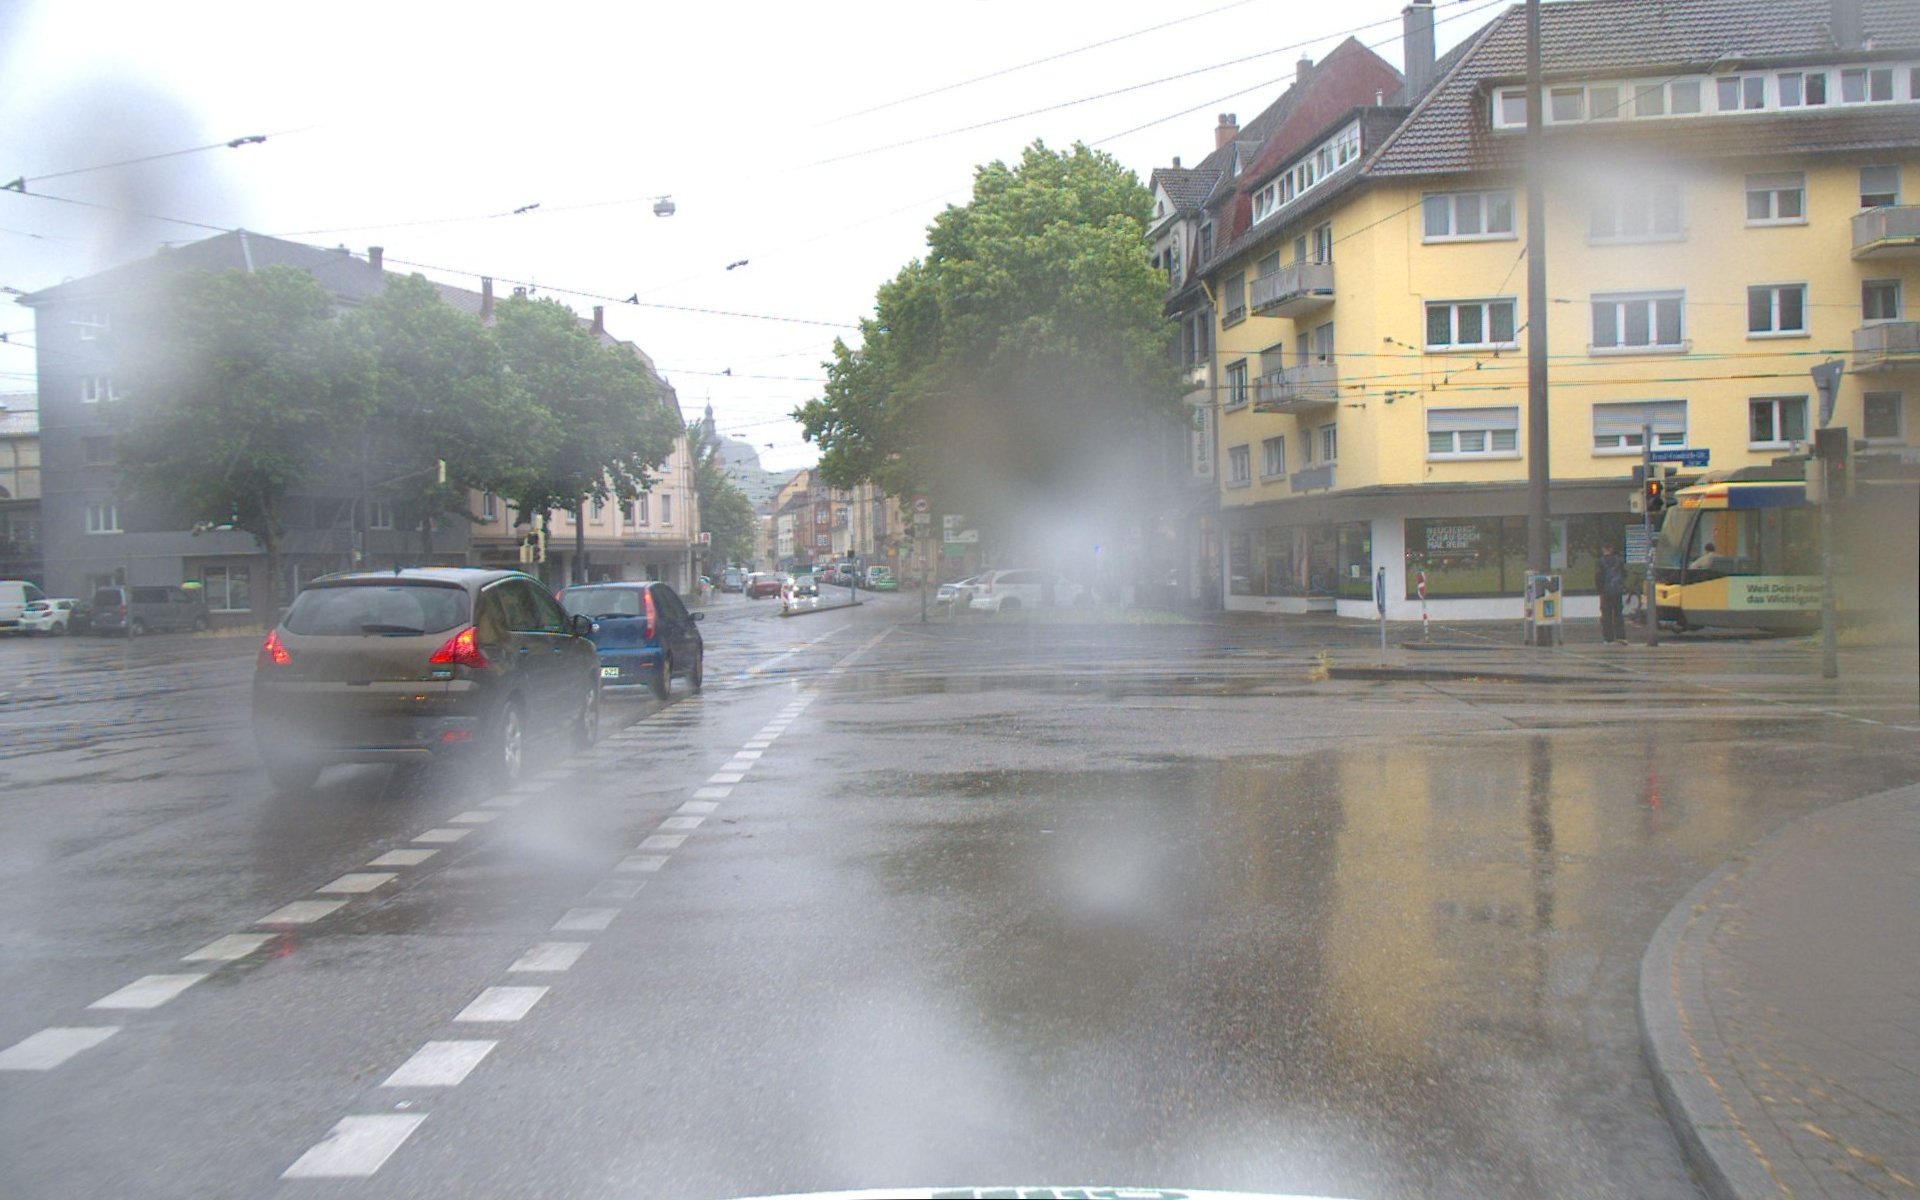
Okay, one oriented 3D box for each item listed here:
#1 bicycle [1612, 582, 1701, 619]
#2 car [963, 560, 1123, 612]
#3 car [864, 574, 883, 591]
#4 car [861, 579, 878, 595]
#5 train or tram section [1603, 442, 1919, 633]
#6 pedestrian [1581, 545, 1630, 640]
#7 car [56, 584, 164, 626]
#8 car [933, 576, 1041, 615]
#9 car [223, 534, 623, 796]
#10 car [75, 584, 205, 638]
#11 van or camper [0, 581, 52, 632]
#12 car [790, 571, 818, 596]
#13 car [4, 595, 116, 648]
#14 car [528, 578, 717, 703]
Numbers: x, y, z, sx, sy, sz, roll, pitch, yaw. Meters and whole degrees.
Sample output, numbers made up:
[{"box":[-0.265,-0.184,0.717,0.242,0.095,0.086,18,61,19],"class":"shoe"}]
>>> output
[{"box":[17.728,0.015,42.146,1.996,0.912,0.614,-1,1,9],"class":"bicycle"},{"box":[2.731,-0.481,54.788,4.889,1.499,1.993,-2,1,-14],"class":"car"},{"box":[-7.386,-1.520,141.104,1.447,1.386,3.458,1,0,-5],"class":"car"},{"box":[-8.104,-1.169,147.740,1.447,1.386,3.458,1,0,-5],"class":"car"},{"box":[20.506,-1.222,32.689,14.221,3.620,3.119,0,1,7],"class":"train or tram section"},{"box":[11.759,-0.142,30.143,0.795,1.706,1.017,-1,1,20],"class":"pedestrian"},{"box":[-35.337,0.183,68.874,1.880,1.646,4.004,-1,1,11],"class":"car"},{"box":[1.240,-0.221,74.731,4.483,1.584,2.002,-1,1,17],"class":"car"},{"box":[-3.998,0.387,13.096,1.764,1.739,4.191,0,1,0],"class":"car"},{"box":[-32.950,0.402,66.597,2.019,2.048,4.396,0,1,24],"class":"car"},{"box":[-40.482,0.261,68.830,1.951,2.111,4.657,-1,0,17],"class":"van or camper"},{"box":[-11.397,-1.178,121.008,1.955,1.718,3.994,1,0,-6],"class":"car"},{"box":[-37.499,0.871,69.032,1.951,2.048,4.004,-1,1,11],"class":"car"},{"box":[-4.322,0.542,21.731,1.845,1.485,3.829,0,-2,-2],"class":"car"}]
